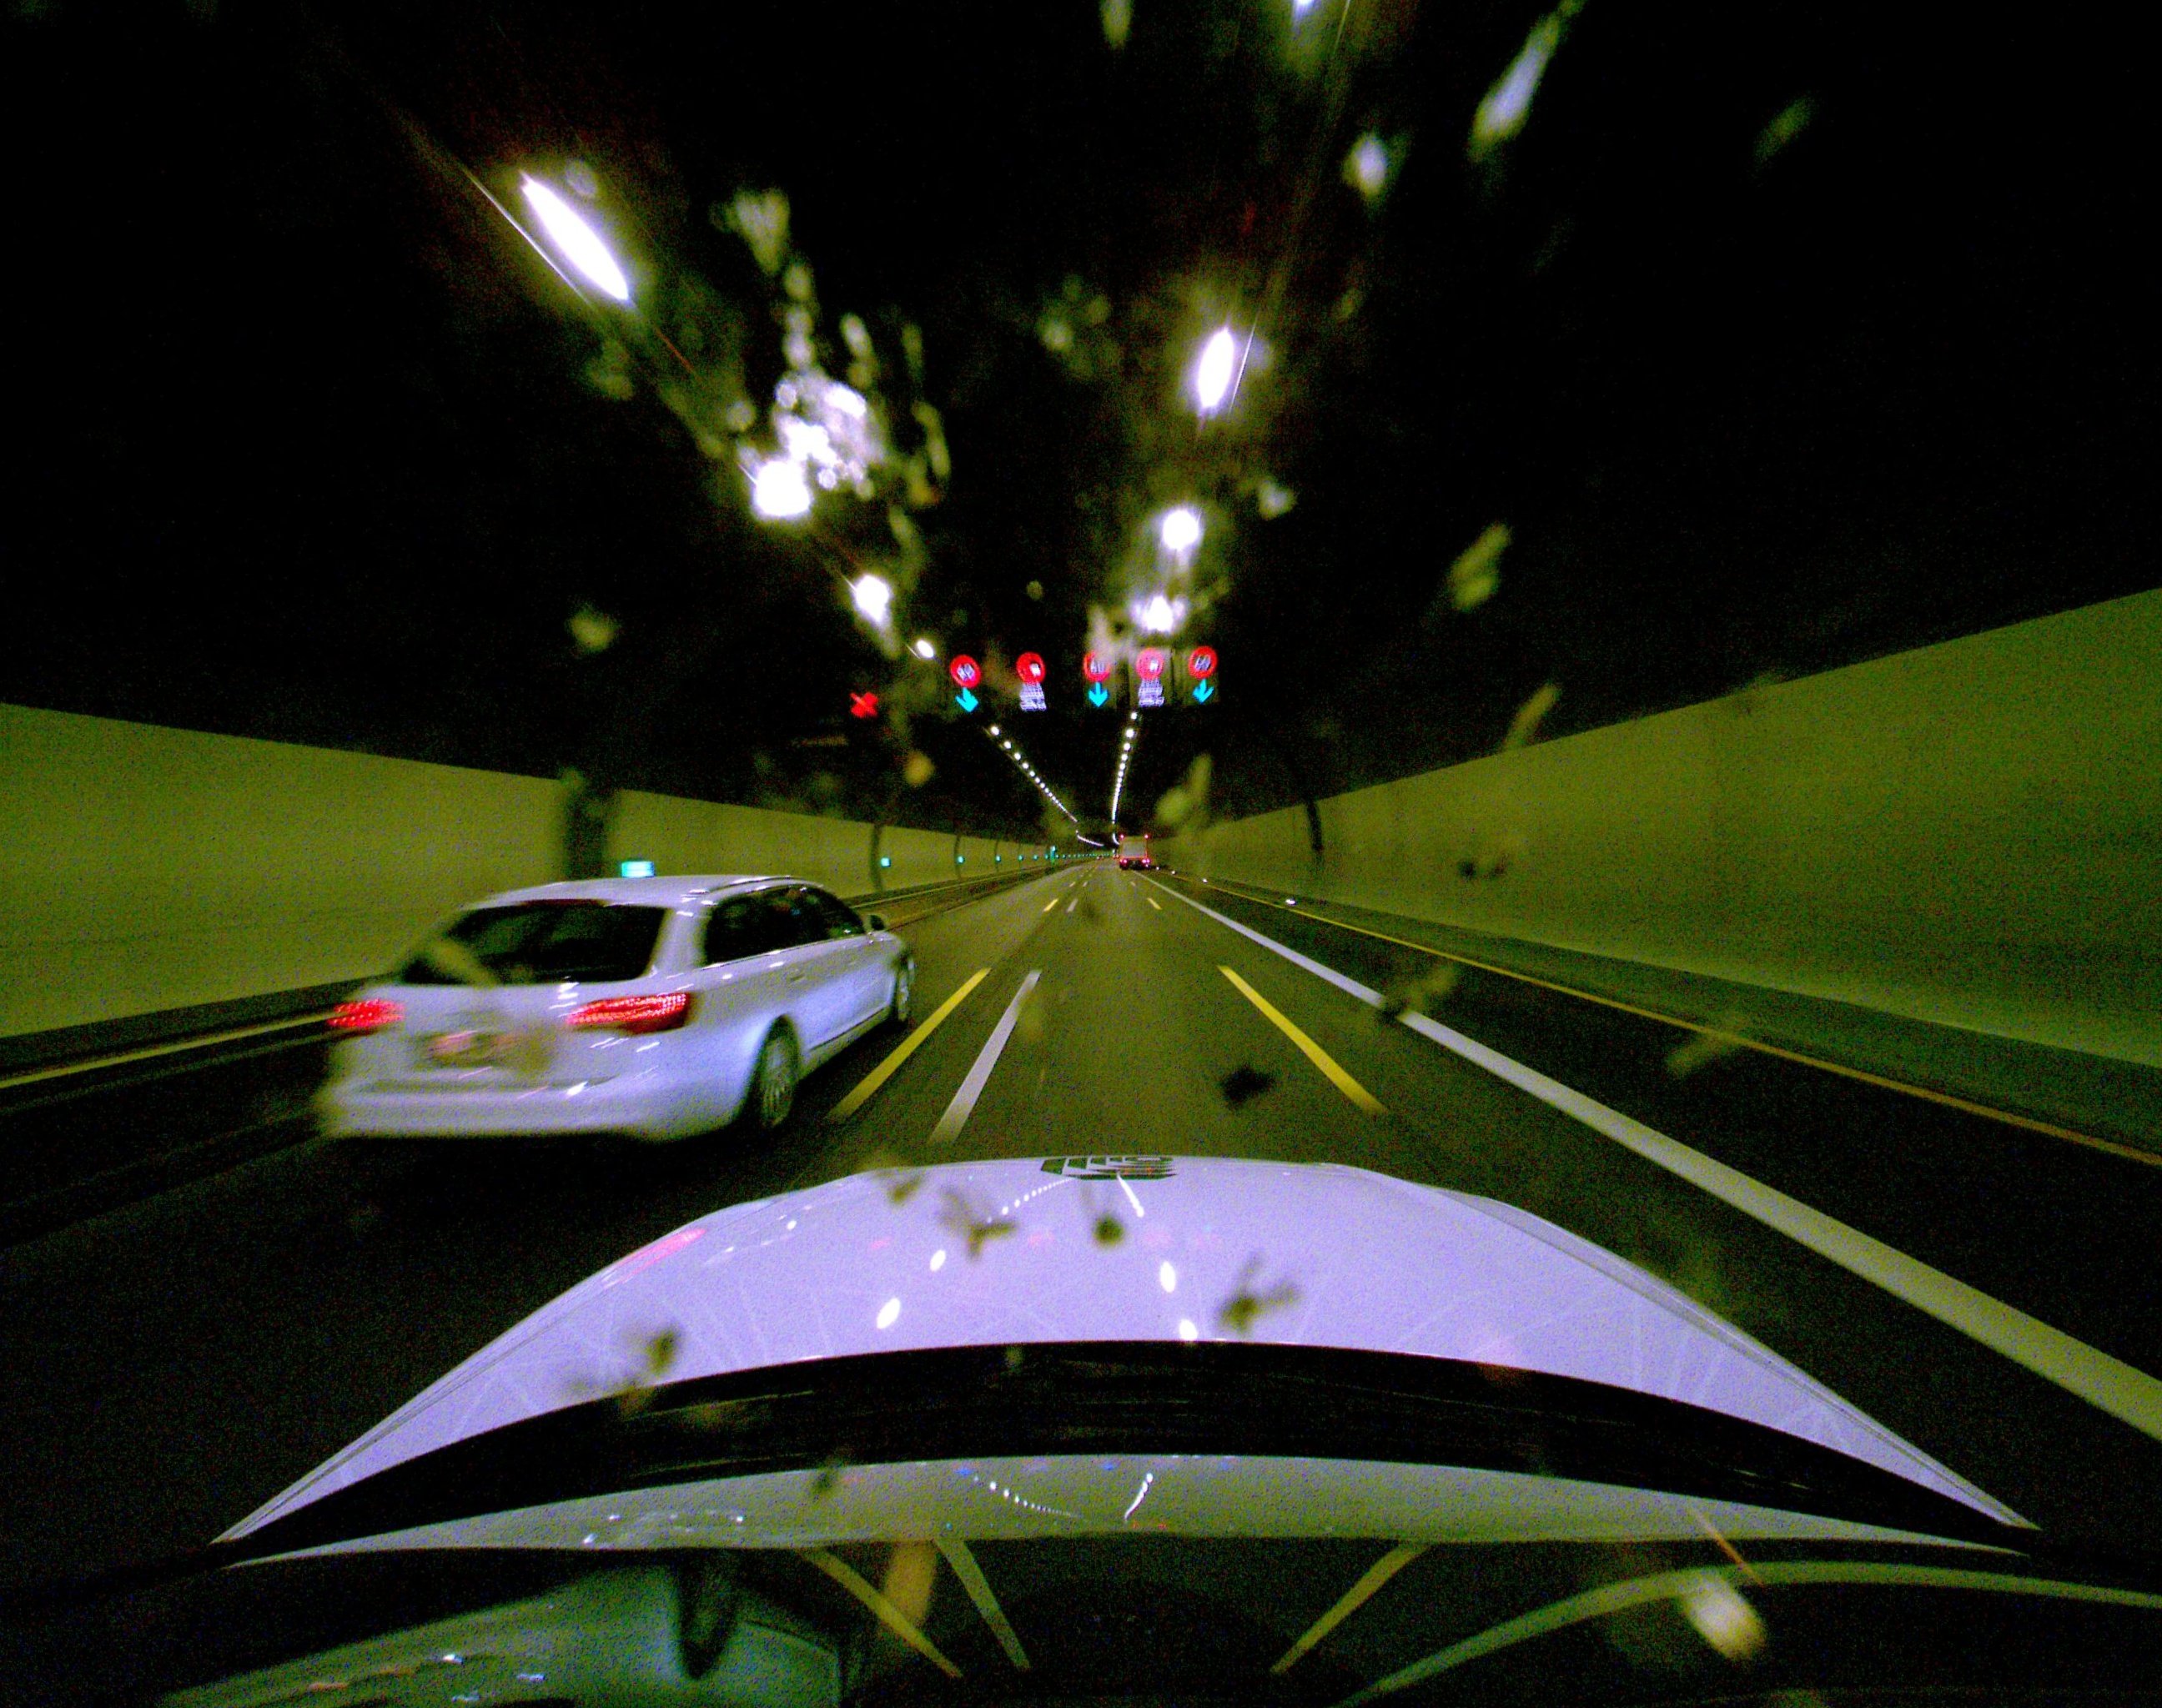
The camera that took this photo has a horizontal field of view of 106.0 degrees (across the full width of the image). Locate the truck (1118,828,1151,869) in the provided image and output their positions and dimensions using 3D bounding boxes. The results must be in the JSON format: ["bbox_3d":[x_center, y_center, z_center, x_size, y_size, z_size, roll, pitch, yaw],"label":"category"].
[{"bbox_3d":[5.554,-0.482,86.014,3.080,3.918,10.372,-2,-1,2],"label":"truck"}]

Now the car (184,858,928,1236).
[{"bbox_3d":[-2.555,0.786,5.709,1.896,1.485,4.945,-1,0,1],"label":"car"}]

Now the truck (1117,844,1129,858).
[{"bbox_3d":[12.424,-0.883,240.155,3.053,3.918,10.376,-2,-1,3],"label":"truck"}]

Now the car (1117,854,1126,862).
[{"bbox_3d":[8.664,0.814,175.101,1.732,1.461,3.964,-3,0,3],"label":"car"}]

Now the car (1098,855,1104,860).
[{"bbox_3d":[5.558,0.983,225.655,1.752,1.461,4.121,-3,0,2],"label":"car"}]
